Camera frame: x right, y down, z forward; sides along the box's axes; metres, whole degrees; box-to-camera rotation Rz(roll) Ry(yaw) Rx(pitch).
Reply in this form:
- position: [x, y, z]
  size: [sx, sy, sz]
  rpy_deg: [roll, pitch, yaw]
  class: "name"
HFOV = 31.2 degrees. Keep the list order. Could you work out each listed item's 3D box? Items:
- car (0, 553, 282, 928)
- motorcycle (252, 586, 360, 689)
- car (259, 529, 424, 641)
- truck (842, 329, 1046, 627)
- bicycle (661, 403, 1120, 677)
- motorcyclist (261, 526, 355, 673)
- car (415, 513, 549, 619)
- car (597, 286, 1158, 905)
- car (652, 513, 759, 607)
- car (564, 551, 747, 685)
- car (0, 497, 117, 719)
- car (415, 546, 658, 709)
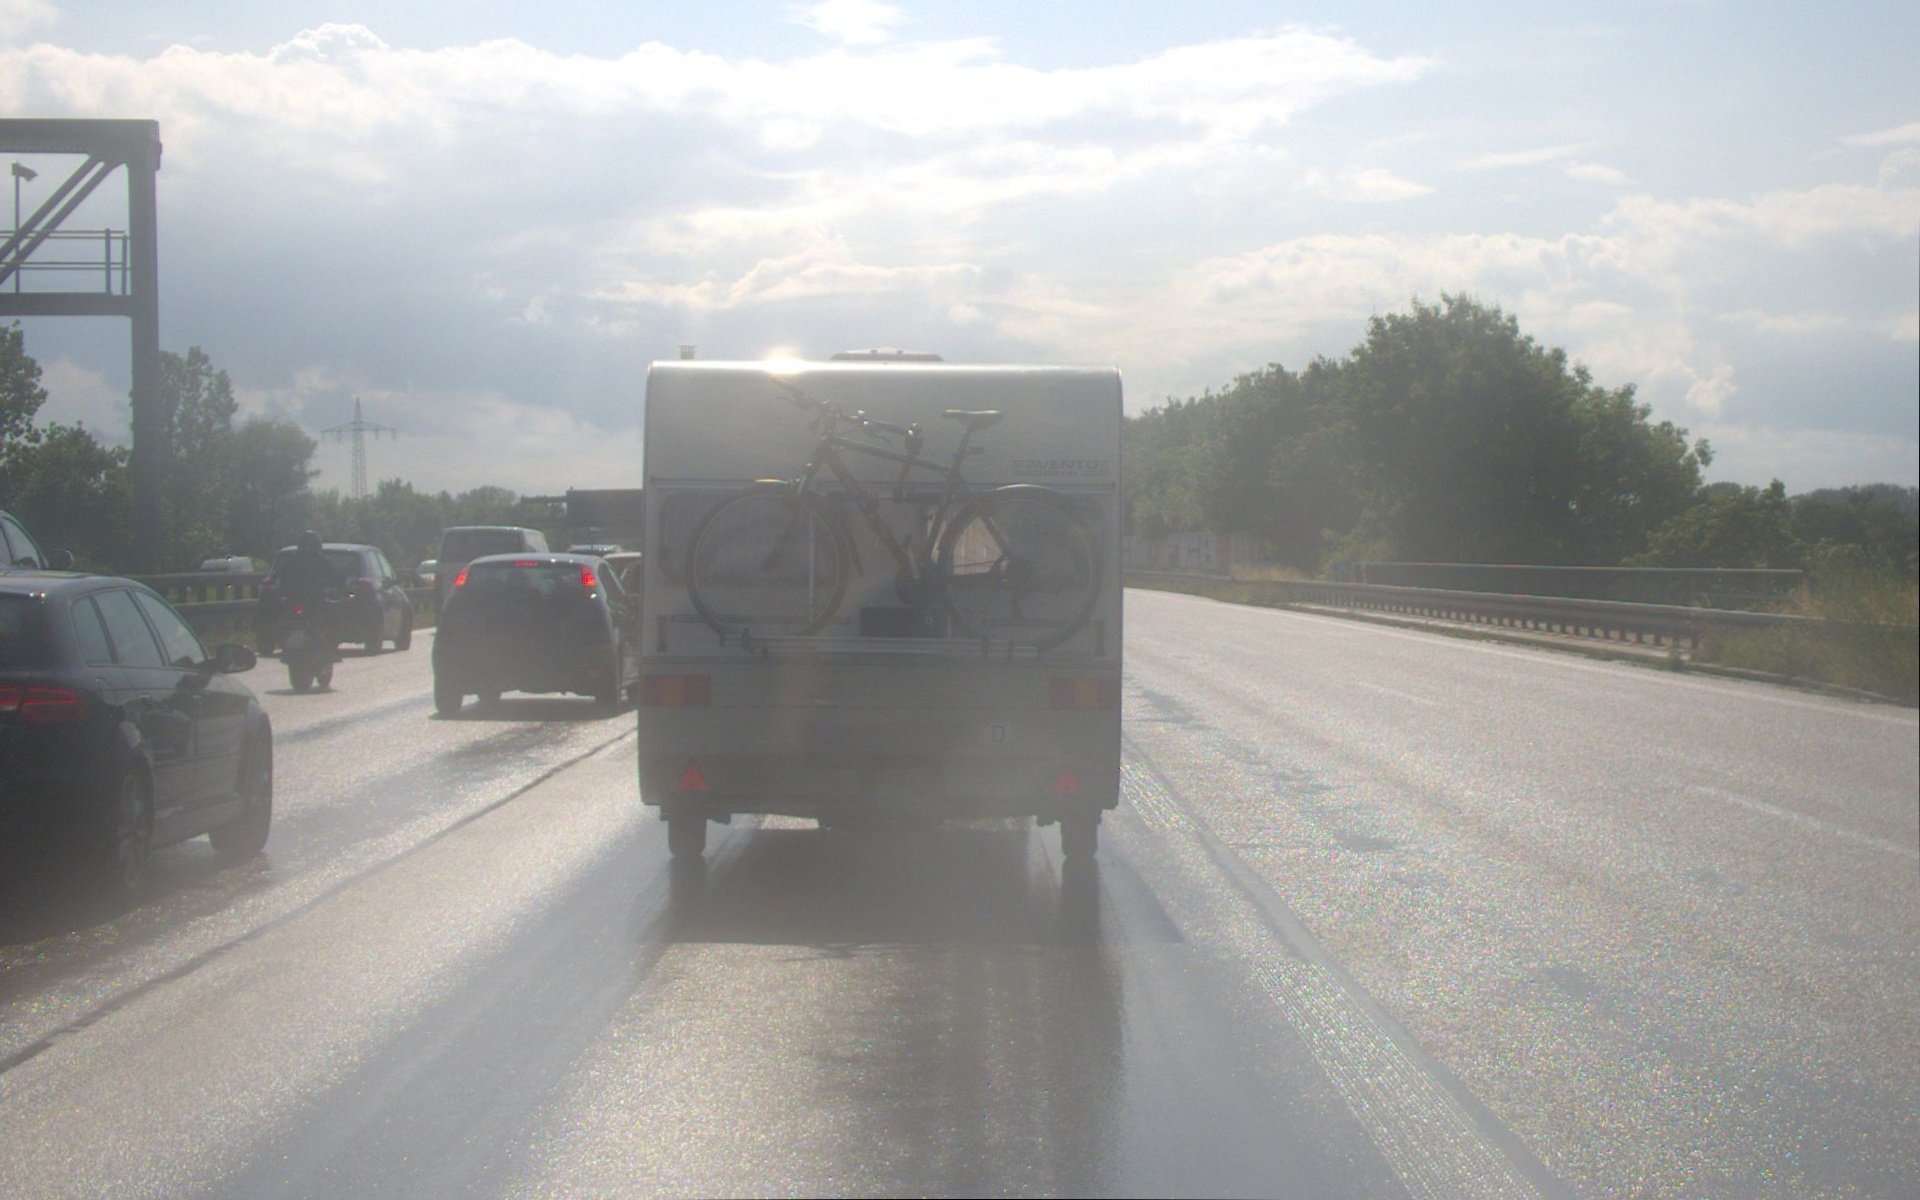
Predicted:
- position: [-4.287, 0.516, 15.320]
  size: [1.750, 1.428, 4.054]
  rpy_deg: [0, 1, 0]
  class: "car"
- position: [-6.909, 0.381, 36.394]
  size: [0.690, 1.024, 2.388]
  rpy_deg: [0, 1, 0]
  class: "motorcycle"
- position: [-9.043, -0.248, 50.560]
  size: [1.783, 1.573, 3.916]
  rpy_deg: [0, 1, -1]
  class: "car"
- position: [-0.314, -1.966, 58.643]
  size: [3.146, 4.610, 10.736]
  rpy_deg: [0, 1, -1]
  class: "truck"
- position: [-0.289, -0.257, 14.739]
  size: [1.934, 1.137, 0.384]
  rpy_deg: [1, 0, 2]
  class: "bicycle"
- position: [-6.919, -0.012, 36.535]
  size: [0.796, 1.532, 1.093]
  rpy_deg: [0, 1, 0]
  class: "motorcyclist"
- position: [-8.961, -0.660, 64.824]
  size: [1.848, 1.927, 5.016]
  rpy_deg: [0, 1, 0]
  class: "car"
- position: [-0.328, -0.043, 16.931]
  size: [2.410, 2.665, 4.000]
  rpy_deg: [1, 1, 1]
  class: "car"
- position: [-4.628, -0.735, 62.890]
  size: [1.689, 1.656, 3.641]
  rpy_deg: [0, 1, 0]
  class: "car"
- position: [-3.567, 0.176, 40.827]
  size: [1.863, 1.503, 4.000]
  rpy_deg: [0, 1, -1]
  class: "car"
- position: [-8.825, 0.043, 29.433]
  size: [1.806, 1.838, 5.418]
  rpy_deg: [0, 1, 1]
  class: "car"
- position: [-3.961, 0.214, 32.736]
  size: [1.758, 1.438, 4.000]
  rpy_deg: [0, 1, 1]
  class: "car"
